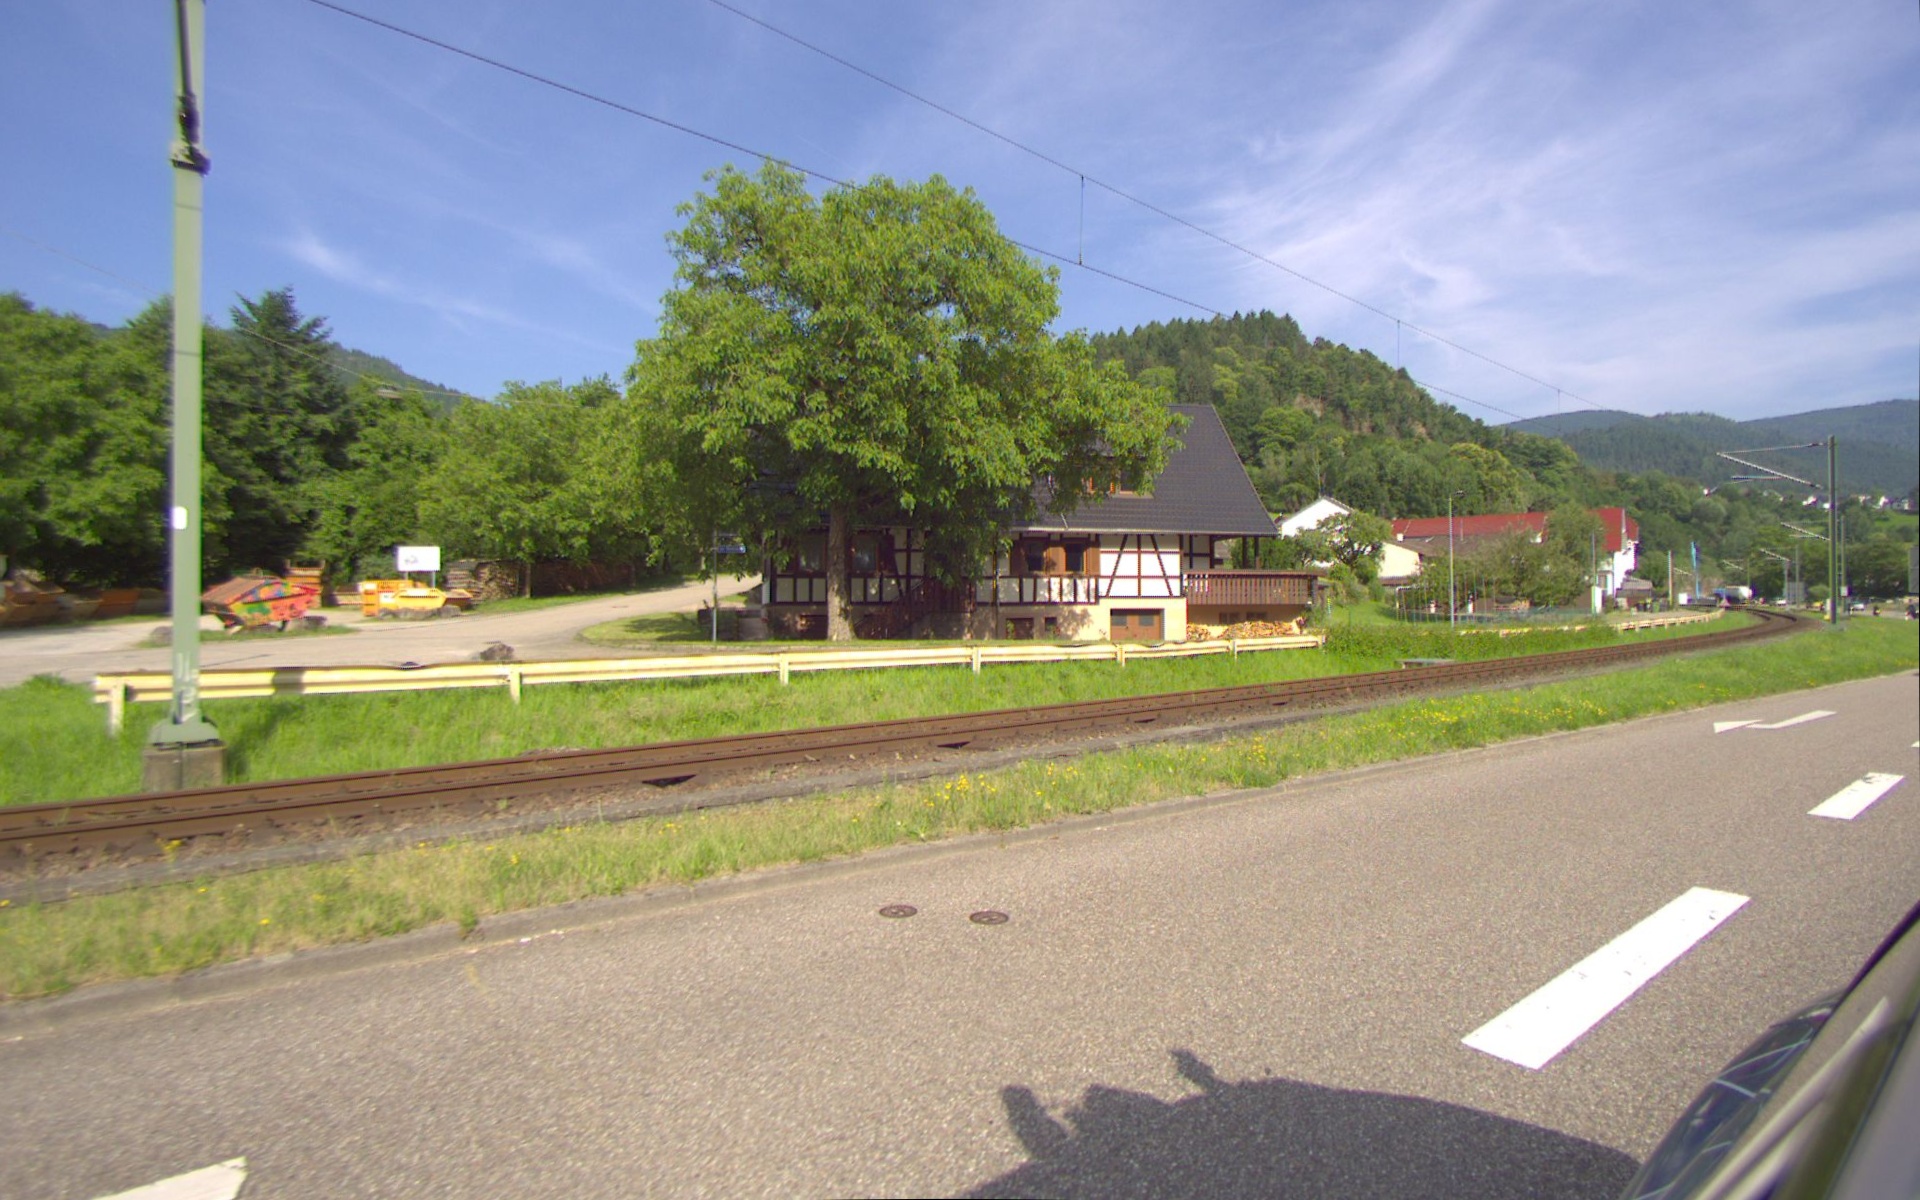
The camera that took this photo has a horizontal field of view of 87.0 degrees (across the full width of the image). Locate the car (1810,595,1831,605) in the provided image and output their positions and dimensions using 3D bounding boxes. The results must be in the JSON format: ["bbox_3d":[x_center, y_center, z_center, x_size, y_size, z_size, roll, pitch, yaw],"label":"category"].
[{"bbox_3d":[155.993,0.039,183.484,1.981,1.683,3.961,-1,-1,28],"label":"car"}]

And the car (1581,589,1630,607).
[{"bbox_3d":[67.604,-0.171,106.039,3.987,1.794,1.801,-2,-1,45],"label":"car"}]

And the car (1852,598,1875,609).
[{"bbox_3d":[146.472,0.533,164.046,1.853,1.683,3.959,-1,-1,29],"label":"car"}]
